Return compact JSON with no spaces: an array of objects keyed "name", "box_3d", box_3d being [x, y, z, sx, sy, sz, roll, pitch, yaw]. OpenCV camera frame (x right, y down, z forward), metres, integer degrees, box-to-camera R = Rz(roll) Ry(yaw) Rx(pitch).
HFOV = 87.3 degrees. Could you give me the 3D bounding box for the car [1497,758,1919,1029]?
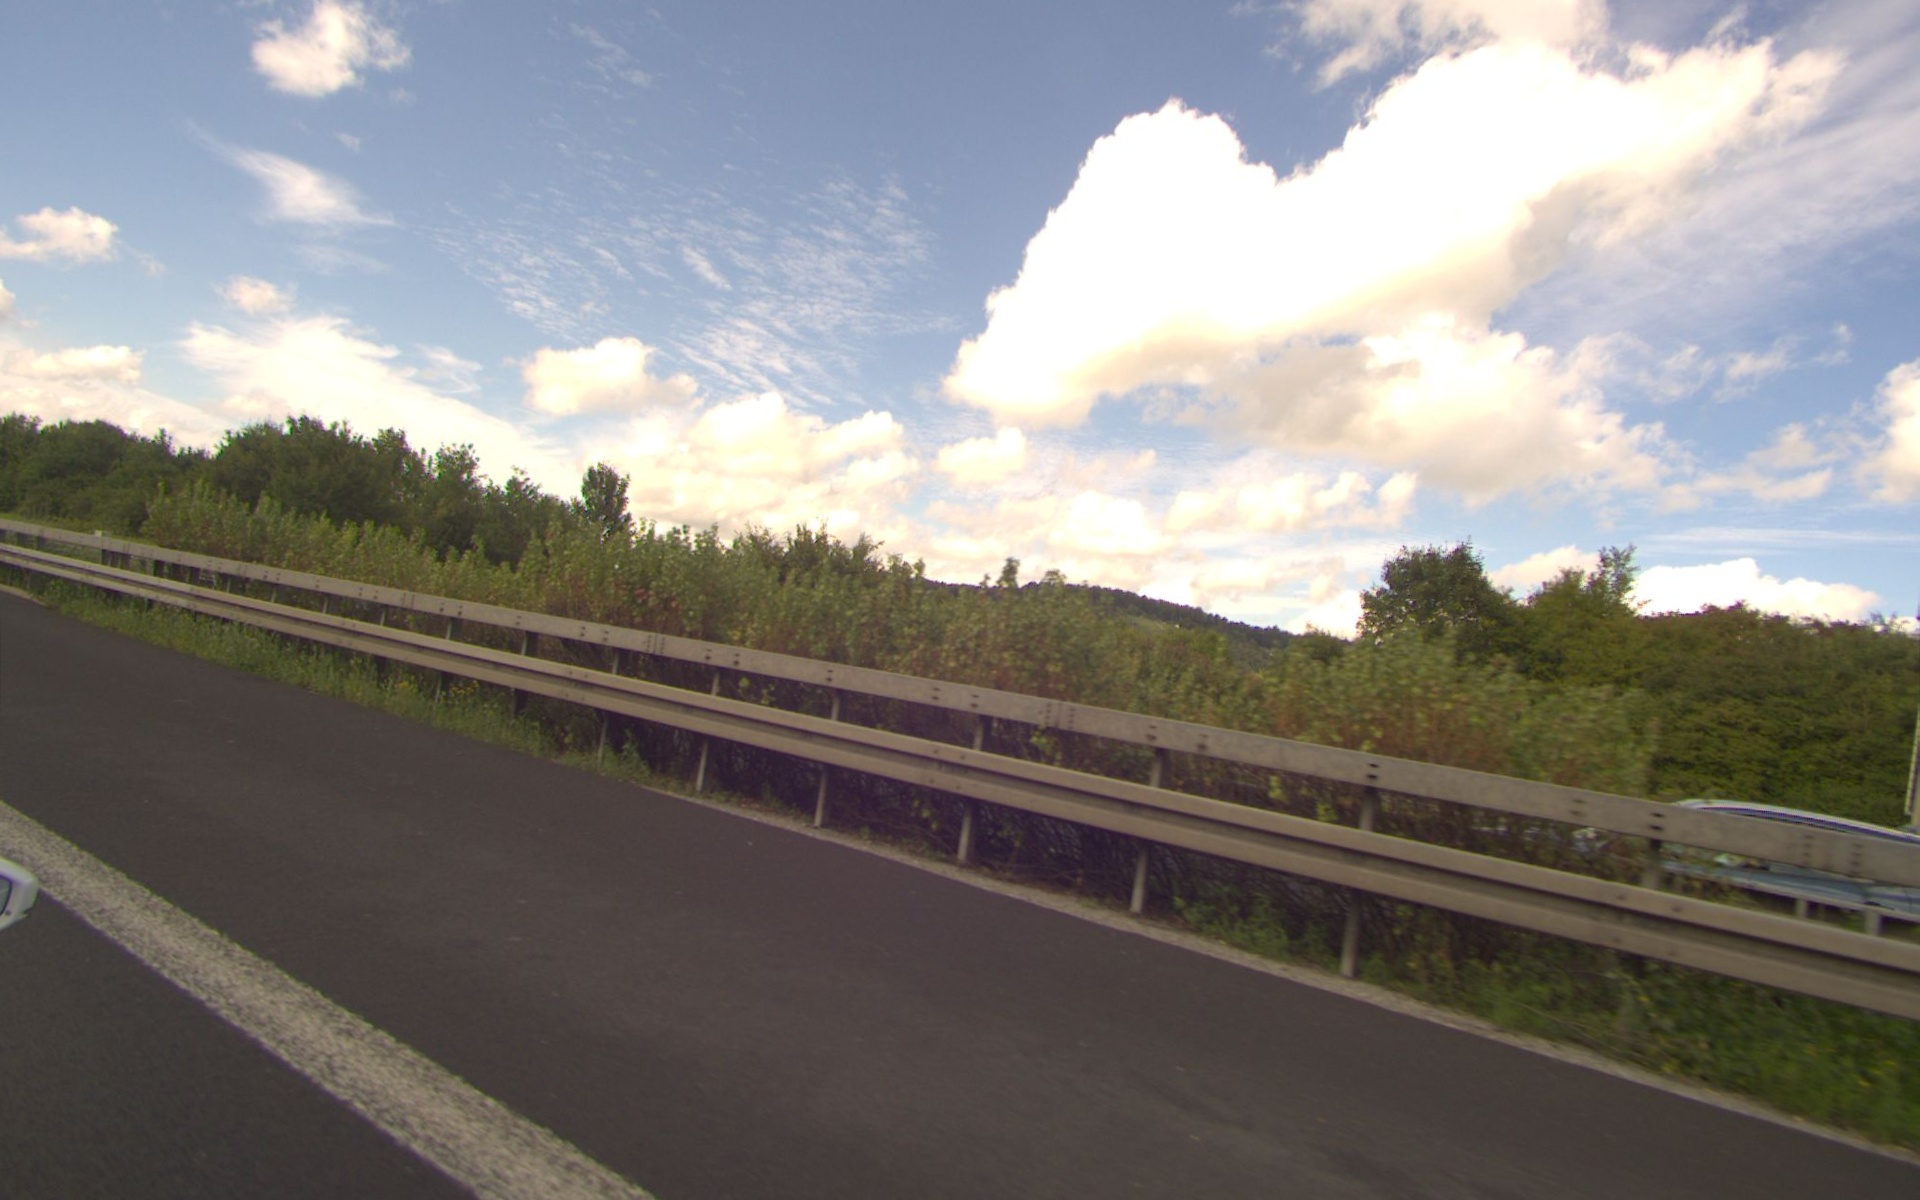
[{"name":"car","box_3d":[7.452,2.577,8.812,4.600,1.536,1.787,6,-2,33]}]
